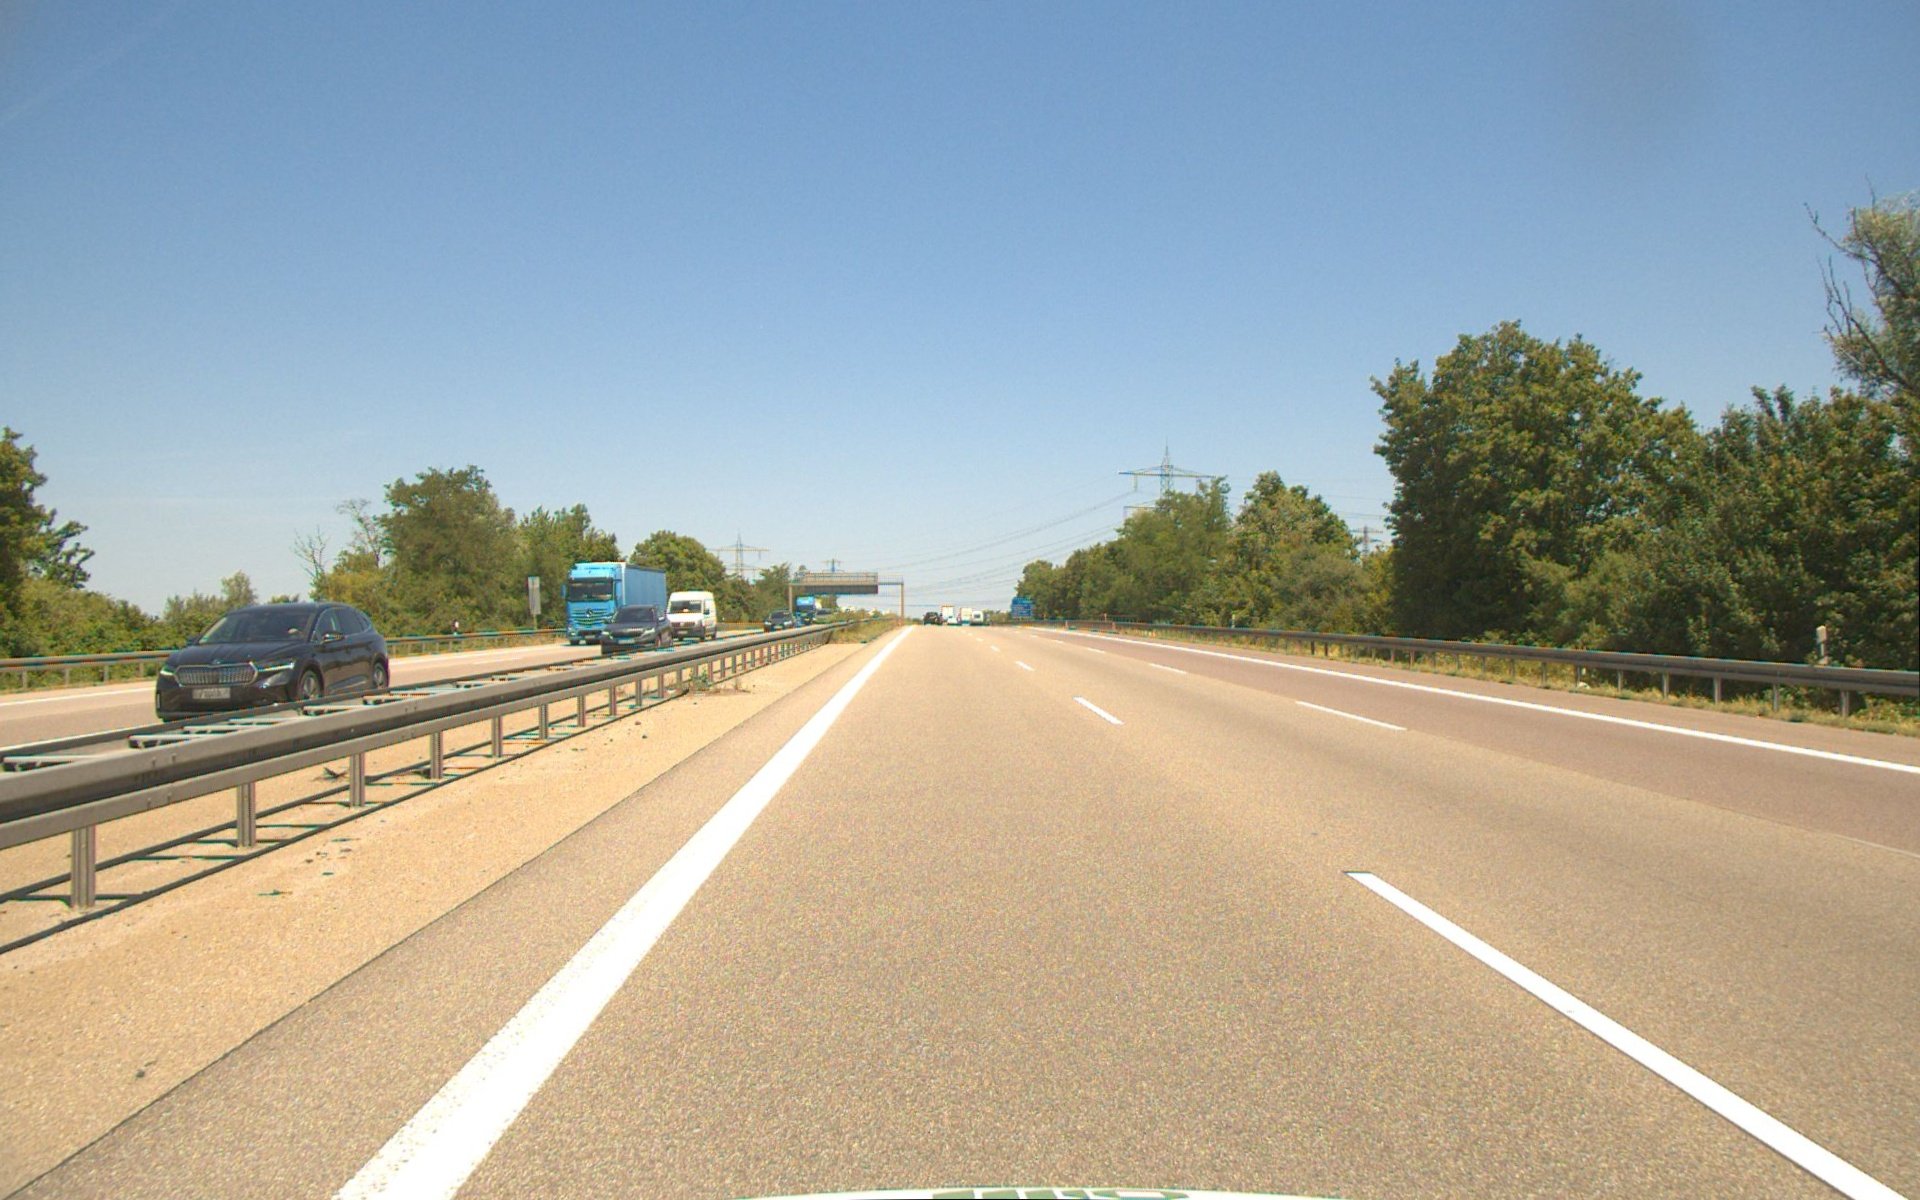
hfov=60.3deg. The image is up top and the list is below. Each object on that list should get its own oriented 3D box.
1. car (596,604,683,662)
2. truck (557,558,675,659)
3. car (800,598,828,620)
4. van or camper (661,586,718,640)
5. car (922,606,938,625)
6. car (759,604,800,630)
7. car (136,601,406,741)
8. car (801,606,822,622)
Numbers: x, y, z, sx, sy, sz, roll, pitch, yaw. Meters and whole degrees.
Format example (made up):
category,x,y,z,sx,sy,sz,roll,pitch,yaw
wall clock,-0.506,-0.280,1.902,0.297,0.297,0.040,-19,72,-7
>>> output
category,x,y,z,sx,sy,sz,roll,pitch,yaw
car,-10.190,1.009,52.920,1.953,1.719,4.407,-2,0,-1
truck,-18.405,0.462,89.928,3.161,4.802,16.853,-3,0,-2
car,-12.222,0.779,139.119,1.953,1.761,5.106,-1,0,-1
van or camper,-14.053,0.649,86.176,1.954,2.610,7.032,-3,0,-2
car,-3.270,1.720,181.636,1.755,2.049,3.886,1,-1,-1
car,-10.821,1.008,99.489,1.953,1.510,4.785,-1,0,-1
car,-9.363,0.895,22.904,1.953,1.719,4.407,-1,0,-1
car,-15.784,1.528,175.889,1.953,1.646,3.998,-1,0,-2
